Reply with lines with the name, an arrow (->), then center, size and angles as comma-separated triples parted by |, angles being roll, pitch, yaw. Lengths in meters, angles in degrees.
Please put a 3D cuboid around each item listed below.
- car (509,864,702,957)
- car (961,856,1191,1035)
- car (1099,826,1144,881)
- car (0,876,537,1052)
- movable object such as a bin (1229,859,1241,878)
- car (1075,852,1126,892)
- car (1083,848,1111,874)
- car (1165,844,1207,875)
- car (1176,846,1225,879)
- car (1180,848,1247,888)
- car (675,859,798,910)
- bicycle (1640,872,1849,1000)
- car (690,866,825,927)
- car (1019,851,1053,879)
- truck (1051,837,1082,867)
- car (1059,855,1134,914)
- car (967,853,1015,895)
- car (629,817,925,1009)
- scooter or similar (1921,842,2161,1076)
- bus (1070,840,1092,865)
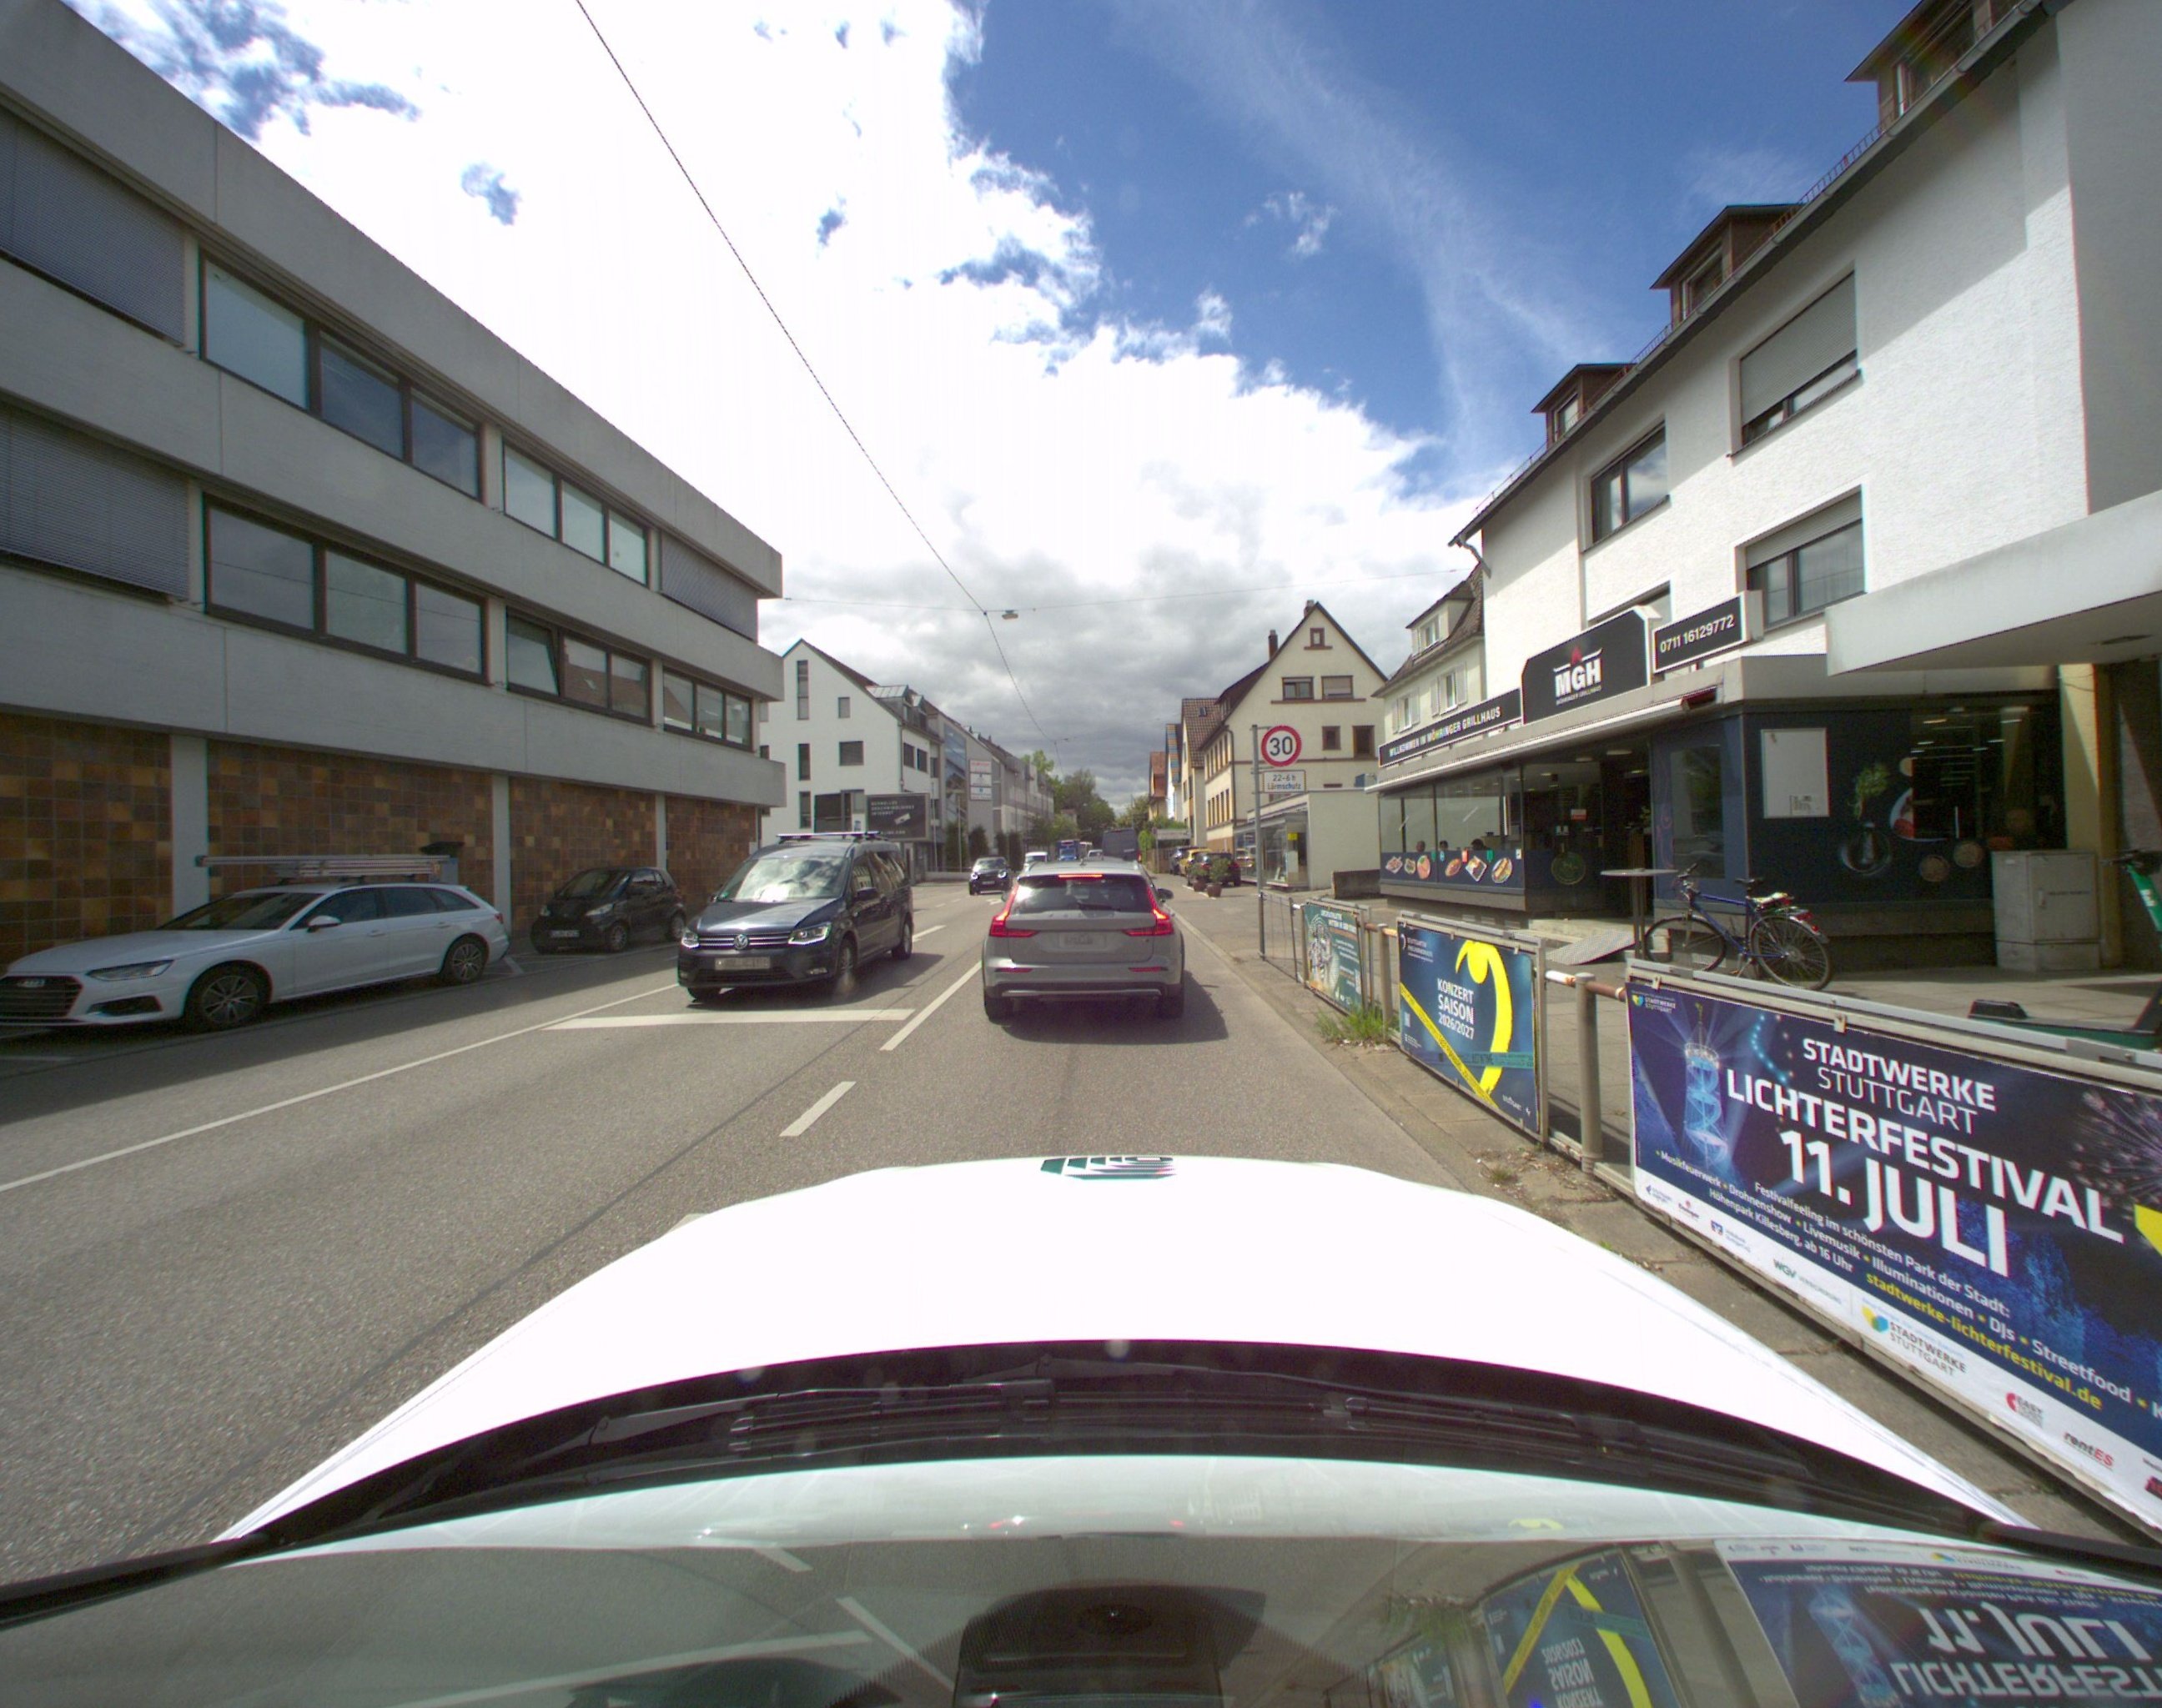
car -> -8.963, 0.998, 15.650 | 1.728, 1.556, 3.061 | -1, 0, 5
car -> 0.079, 0.767, 8.748 | 1.888, 1.453, 3.972 | -1, 0, 3
car -> 2.192, -0.021, 45.107 | 2.244, 2.795, 5.571 | -2, 0, 2
car -> -9.452, 1.068, 9.892 | 2.034, 1.444, 4.959 | -1, 0, 5
movable object such as a bin -> 7.533, 0.708, 39.948 | 0.498, 0.925, 0.599 | -2, 0, 5
car -> 0.814, 0.677, 32.039 | 1.889, 1.446, 3.971 | -1, 0, 3
car -> 1.320, 0.534, 65.620 | 1.985, 2.013, 4.004 | -1, 0, 3
car -> 5.987, 0.282, 46.798 | 1.854, 1.612, 4.587 | -3, 0, 1
car -> 6.090, 0.387, 42.005 | 1.871, 1.447, 4.307 | -2, 2, 0
car -> 5.355, 0.540, 33.505 | 1.962, 1.447, 4.534 | -2, 0, 0
car -> -13.105, 1.104, 31.384 | 1.940, 1.619, 4.941 | -4, 0, 8
bicycle -> 6.183, 0.709, 7.713 | 0.474, 1.028, 1.632 | -2, 0, -7
car -> -8.566, 1.070, 21.986 | 1.714, 1.422, 4.153 | -1, 0, 4
car -> -3.119, 0.755, 57.431 | 1.938, 1.821, 4.280 | -2, 0, 1
truck -> -1.540, -0.216, 91.774 | 2.842, 3.093, 8.094 | -2, 0, 3
car -> 0.502, 0.783, 22.708 | 1.888, 1.446, 3.972 | -1, 0, 3
car -> -3.779, 0.806, 34.470 | 1.671, 1.635, 2.833 | -2, 0, 0
car -> -3.559, 0.596, 10.716 | 1.942, 1.877, 4.877 | -2, 0, 0
scooter or similar -> 6.163, 0.580, 4.996 | 0.688, 1.267, 1.181 | -2, -1, -11
bus -> 0.104, -0.156, 111.691 | 2.672, 3.163, 10.188 | -2, 0, 2
